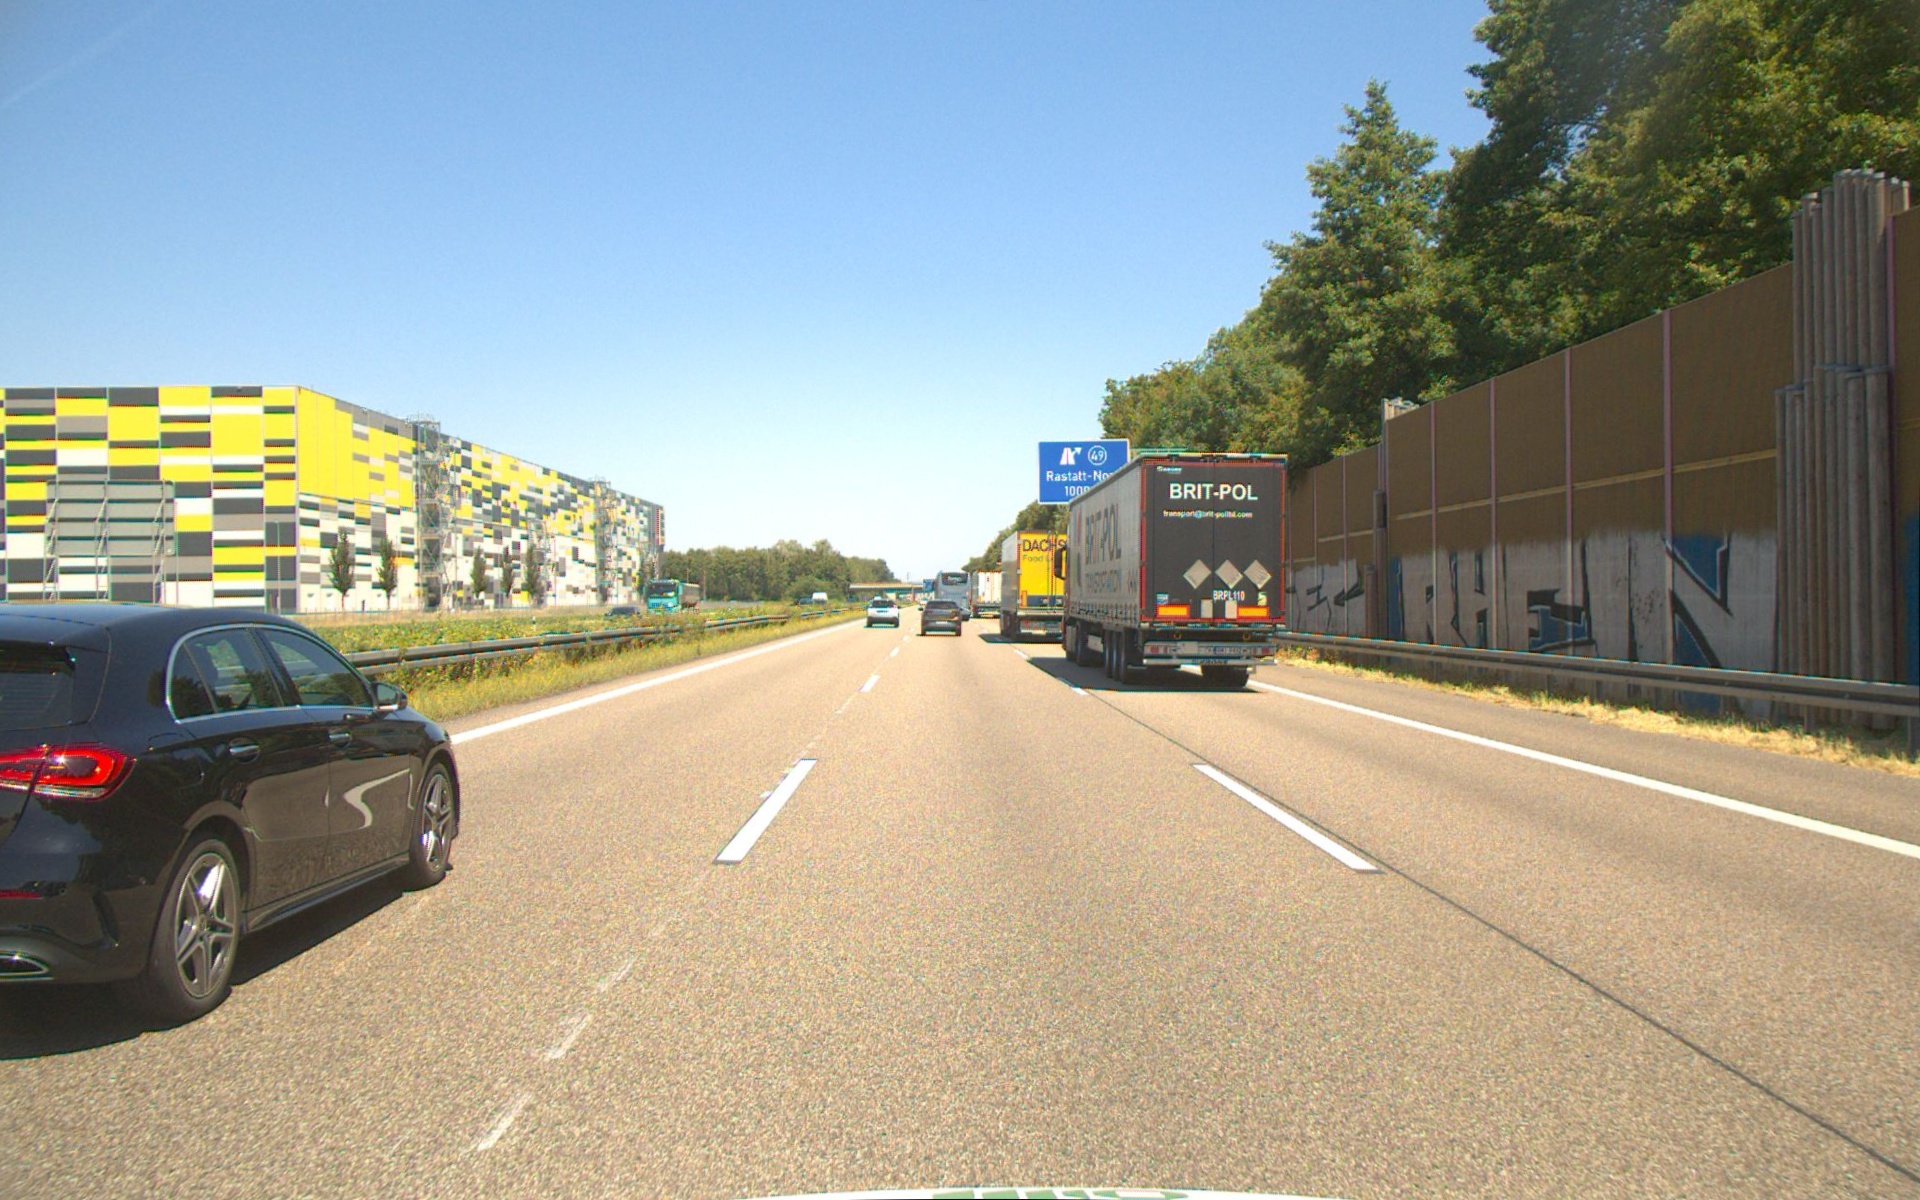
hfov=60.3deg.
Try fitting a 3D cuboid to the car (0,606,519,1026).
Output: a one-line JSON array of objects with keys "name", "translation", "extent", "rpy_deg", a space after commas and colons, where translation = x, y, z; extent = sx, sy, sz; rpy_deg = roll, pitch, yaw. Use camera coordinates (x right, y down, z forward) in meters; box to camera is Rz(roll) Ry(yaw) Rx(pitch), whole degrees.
[{"name": "car", "translation": [-3.513, 0.764, 7.815], "extent": [1.755, 1.436, 4.052], "rpy_deg": [1, 0, 0]}]

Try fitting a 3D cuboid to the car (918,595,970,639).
[{"name": "car", "translation": [-0.721, 0.733, 72.229], "extent": [2.171, 1.821, 5.392], "rpy_deg": [-1, 0, -1]}]

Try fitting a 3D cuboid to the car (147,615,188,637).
[{"name": "car", "translation": [-68.827, 2.239, 143.652], "extent": [1.650, 1.757, 4.110], "rpy_deg": [-1, 0, -2]}]

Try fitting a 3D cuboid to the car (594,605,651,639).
[{"name": "car", "translation": [-18.092, 1.157, 88.918], "extent": [1.953, 1.668, 5.662], "rpy_deg": [-1, 0, -1]}]

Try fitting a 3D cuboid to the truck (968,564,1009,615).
[{"name": "truck", "translation": [2.438, -0.884, 143.789], "extent": [3.353, 4.198, 9.563], "rpy_deg": [-1, 0, 0]}]

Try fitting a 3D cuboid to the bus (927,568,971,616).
[{"name": "bus", "translation": [-0.878, -0.572, 124.007], "extent": [3.001, 3.385, 8.270], "rpy_deg": [-1, 0, -2]}]

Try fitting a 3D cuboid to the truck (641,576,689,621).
[{"name": "truck", "translation": [-22.136, -0.101, 124.437], "extent": [2.643, 3.307, 5.836], "rpy_deg": [-1, -1, -1]}]

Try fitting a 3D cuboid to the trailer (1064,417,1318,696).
[{"name": "trailer", "translation": [4.309, -0.675, 34.856], "extent": [3.043, 4.585, 14.892], "rpy_deg": [1, 0, -1]}]

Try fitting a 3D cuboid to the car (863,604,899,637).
[{"name": "car", "translation": [-4.348, 1.106, 91.428], "extent": [1.953, 1.758, 4.129], "rpy_deg": [0, 0, -2]}]

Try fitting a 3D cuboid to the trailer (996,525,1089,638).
[{"name": "trailer", "translation": [3.052, -0.667, 64.535], "extent": [2.777, 4.023, 11.680], "rpy_deg": [0, 0, -1]}]

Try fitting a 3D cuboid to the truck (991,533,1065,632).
[{"name": "truck", "translation": [2.879, -0.722, 71.781], "extent": [2.756, 4.077, 6.642], "rpy_deg": [0, 0, -2]}]

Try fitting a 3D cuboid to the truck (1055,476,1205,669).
[{"name": "truck", "translation": [4.204, -0.619, 42.192], "extent": [3.025, 4.518, 6.051], "rpy_deg": [1, -1, -1]}]
